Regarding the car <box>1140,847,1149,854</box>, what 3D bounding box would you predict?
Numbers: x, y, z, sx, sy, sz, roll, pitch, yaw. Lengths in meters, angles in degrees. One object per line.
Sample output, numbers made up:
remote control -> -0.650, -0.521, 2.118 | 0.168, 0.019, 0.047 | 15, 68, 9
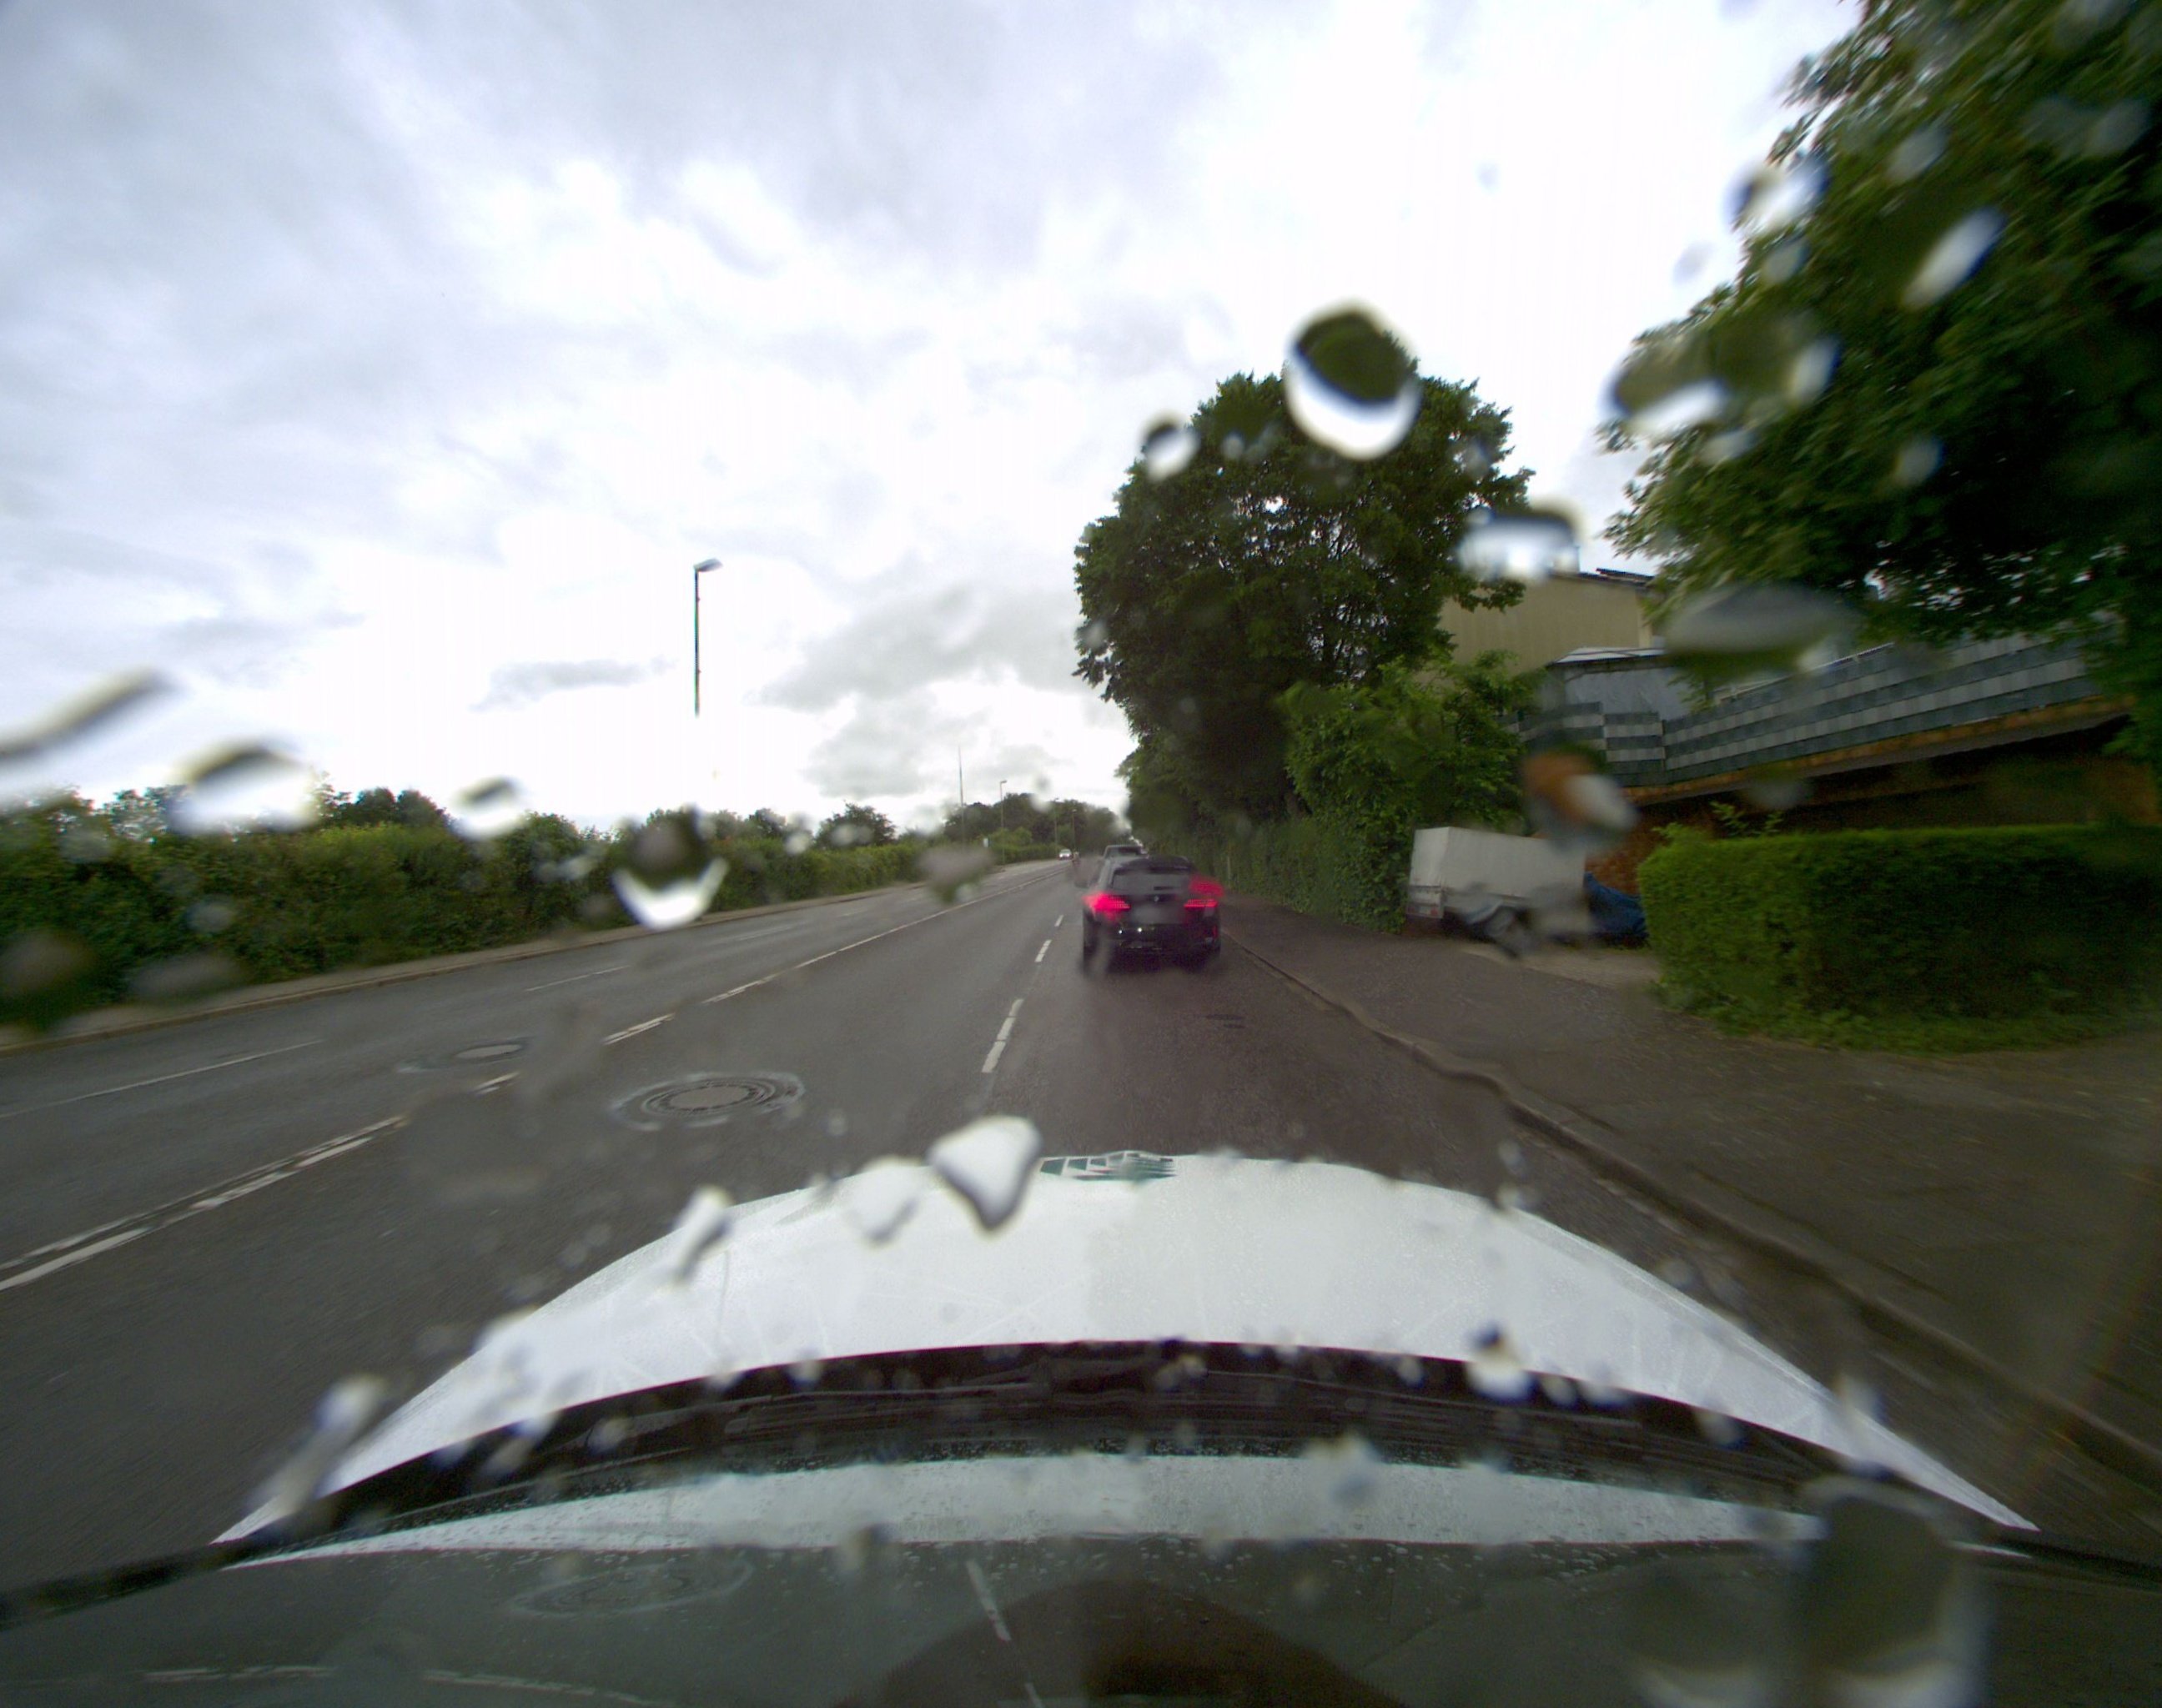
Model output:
car -> 14.376, -0.716, 184.108 | 1.925, 1.442, 4.415 | -3, 0, 6

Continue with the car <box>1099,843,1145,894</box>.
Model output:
car -> 1.673, 0.526, 32.634 | 1.622, 1.833, 4.004 | -3, 0, 4

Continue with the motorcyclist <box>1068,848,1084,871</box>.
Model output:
motorcyclist -> -0.371, 0.399, 57.289 | 1.035, 1.567, 0.856 | 0, -1, 3

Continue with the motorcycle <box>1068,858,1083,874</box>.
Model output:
motorcycle -> -0.374, 0.843, 57.325 | 0.872, 1.124, 2.743 | 0, 0, 4

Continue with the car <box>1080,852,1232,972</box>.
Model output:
car -> 1.092, 0.722, 12.199 | 1.888, 1.489, 4.005 | 0, 0, 5

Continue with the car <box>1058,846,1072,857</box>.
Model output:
car -> -2.440, -0.374, 125.514 | 1.749, 1.568, 4.002 | -4, 0, 2

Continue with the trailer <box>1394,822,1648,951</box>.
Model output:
trailer -> 6.591, 0.473, 12.397 | 2.971, 1.570, 1.488 | 5, 0, -1
